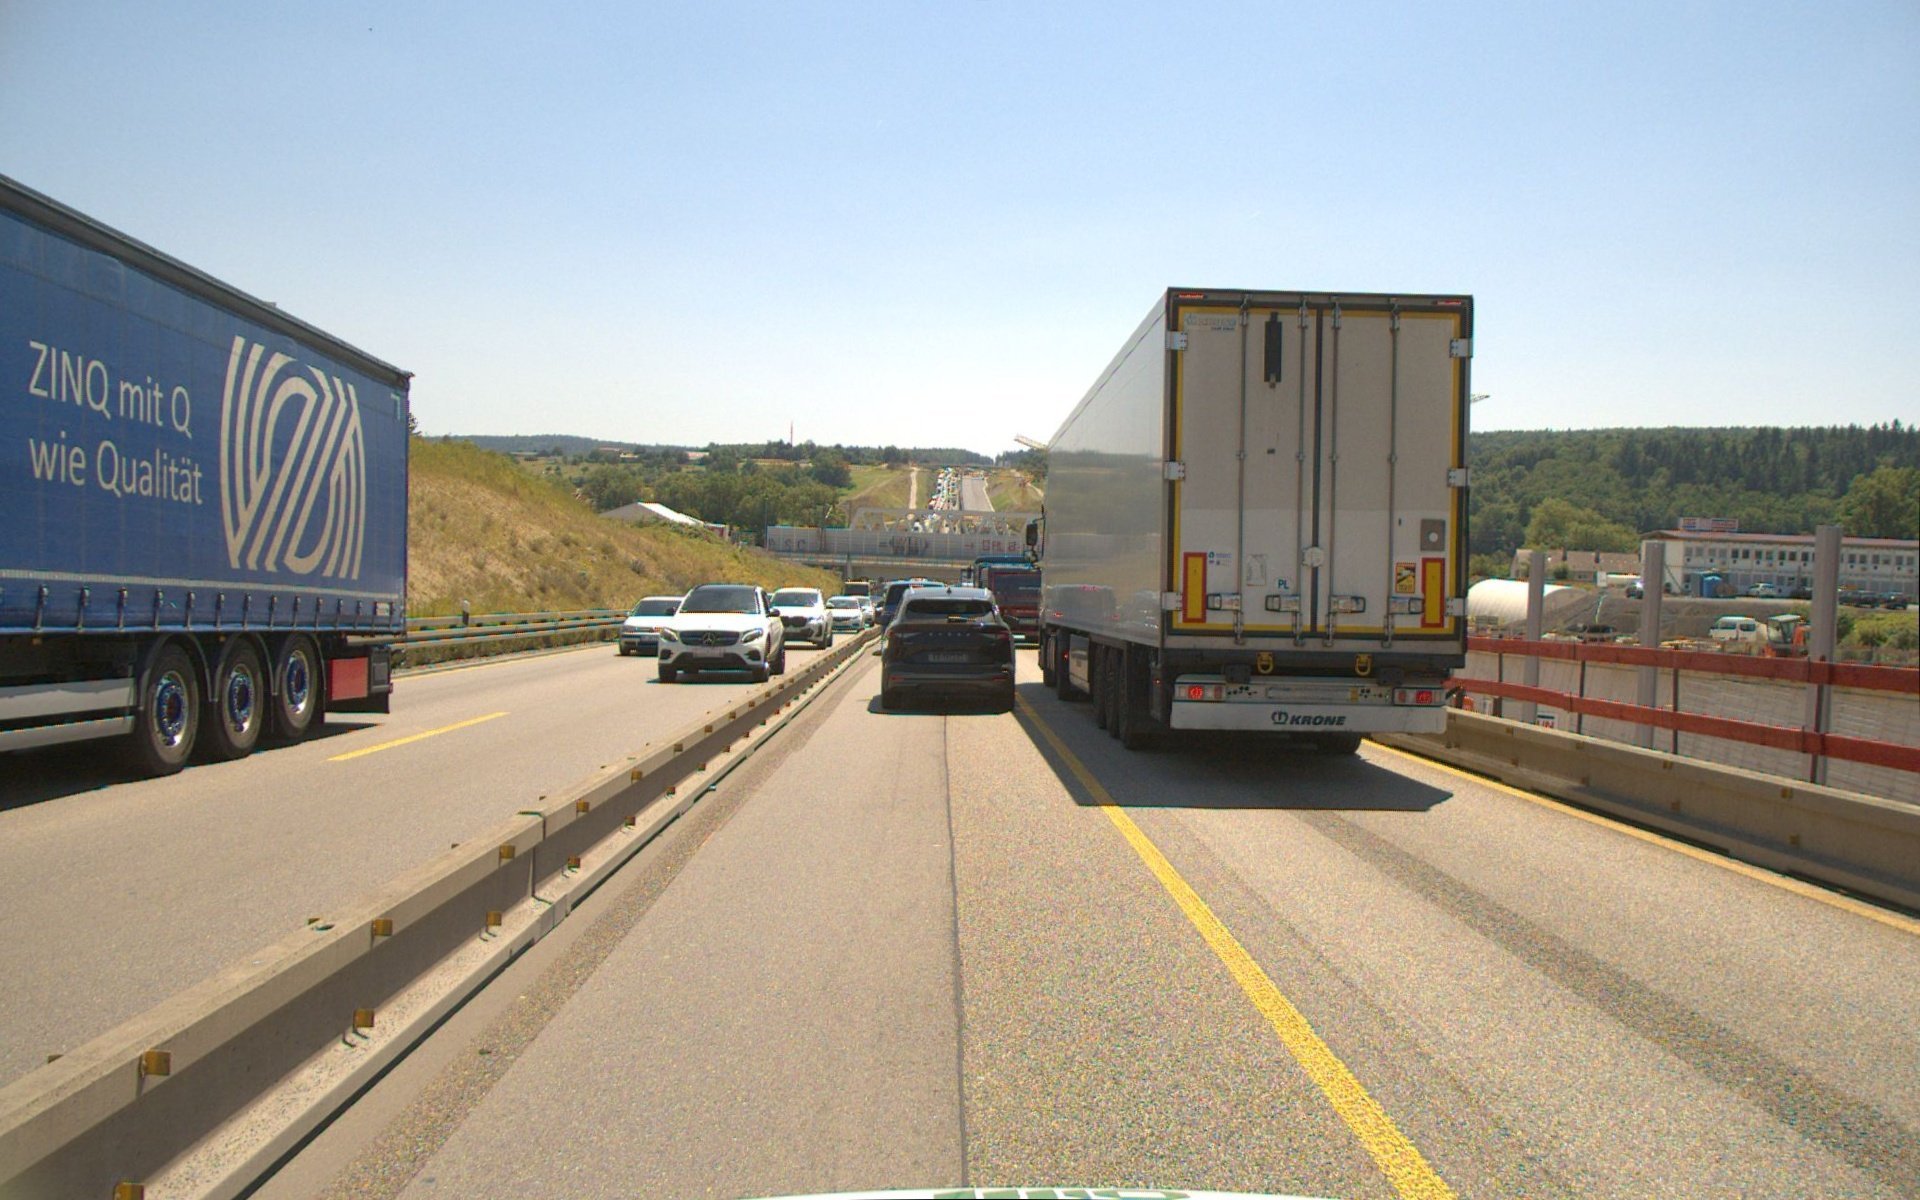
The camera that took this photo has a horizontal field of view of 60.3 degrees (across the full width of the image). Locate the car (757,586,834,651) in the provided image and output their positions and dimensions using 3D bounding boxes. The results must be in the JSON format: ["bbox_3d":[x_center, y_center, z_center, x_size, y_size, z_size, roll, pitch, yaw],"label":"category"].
[{"bbox_3d":[-4.635,0.499,47.221,1.853,1.738,4.560,1,0,-2],"label":"car"}]

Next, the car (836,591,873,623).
[{"bbox_3d":[-5.582,0.349,88.053,1.779,1.620,4.288,1,0,-2],"label":"car"}]

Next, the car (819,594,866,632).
[{"bbox_3d":[-4.880,0.535,68.998,1.769,1.503,4.279,1,0,-2],"label":"car"}]

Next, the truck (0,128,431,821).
[{"bbox_3d":[-7.500,-0.783,11.888,3.177,4.232,13.974,1,0,-1],"label":"truck"}]

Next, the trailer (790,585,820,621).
[{"bbox_3d":[-9.072,0.142,96.985,1.614,2.061,4.267,0,0,-3],"label":"trailer"}]

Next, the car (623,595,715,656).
[{"bbox_3d":[-7.122,0.597,40.790,1.667,1.403,3.965,1,0,-2],"label":"car"}]

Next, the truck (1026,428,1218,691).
[{"bbox_3d":[2.665,-0.632,28.684,2.720,4.129,4.903,1,0,-1],"label":"truck"}]

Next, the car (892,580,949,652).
[{"bbox_3d":[-1.018,0.395,43.941,1.444,1.826,3.297,0,0,0],"label":"car"}]

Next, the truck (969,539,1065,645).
[{"bbox_3d":[1.769,-0.220,56.764,2.756,3.190,12.836,1,0,0],"label":"truck"}]

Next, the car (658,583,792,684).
[{"bbox_3d":[-4.121,0.546,29.667,1.775,1.666,4.362,1,0,0],"label":"car"}]

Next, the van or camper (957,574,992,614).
[{"bbox_3d":[0.837,-0.390,100.115,1.953,2.283,4.000,2,0,-1],"label":"van or camper"}]

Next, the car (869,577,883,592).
[{"bbox_3d":[-10.725,-2.010,211.726,1.697,1.825,3.579,1,0,-2],"label":"car"}]

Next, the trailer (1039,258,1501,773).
[{"bbox_3d":[2.848,-0.654,20.413,2.745,4.129,14.112,1,0,-1],"label":"trailer"}]

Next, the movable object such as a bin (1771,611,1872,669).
[{"bbox_3d":[35.500,1.624,68.286,1.953,2.278,4.151,1,0,0],"label":"movable object such as a bin"}]

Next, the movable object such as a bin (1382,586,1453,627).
[{"bbox_3d":[35.394,0.487,128.341,2.829,2.960,9.478,1,0,0],"label":"movable object such as a bin"}]

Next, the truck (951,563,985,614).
[{"bbox_3d":[0.615,-0.942,136.696,2.467,4.028,7.597,2,0,-2],"label":"truck"}]

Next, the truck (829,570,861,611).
[{"bbox_3d":[-10.910,-0.847,157.070,2.534,3.788,9.330,0,0,-1],"label":"truck"}]

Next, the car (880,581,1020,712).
[{"bbox_3d":[-0.149,0.569,22.686,1.764,1.648,3.297,1,1,-1],"label":"car"}]
